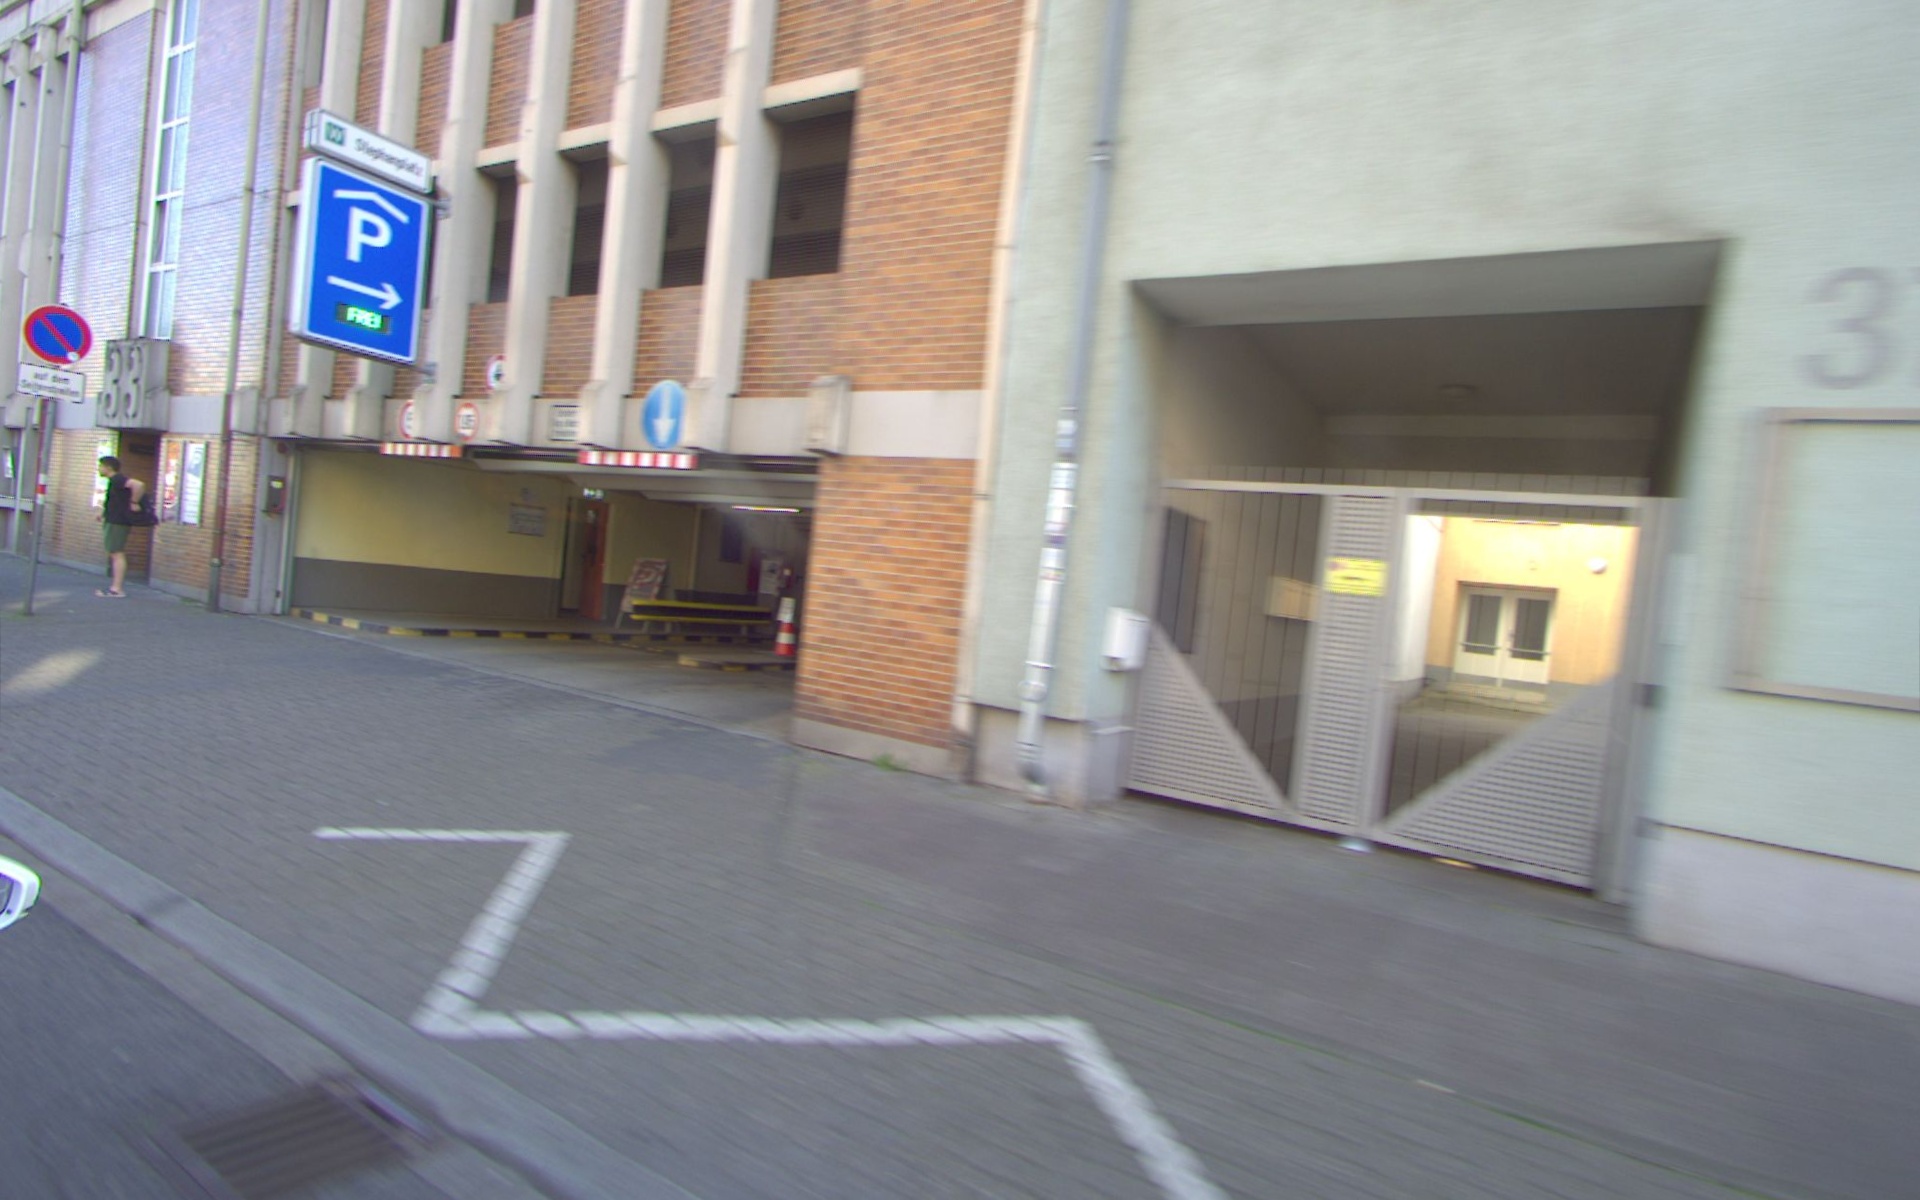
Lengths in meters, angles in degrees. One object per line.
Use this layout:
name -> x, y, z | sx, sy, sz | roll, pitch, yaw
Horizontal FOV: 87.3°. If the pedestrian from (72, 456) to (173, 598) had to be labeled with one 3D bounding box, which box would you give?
pedestrian -> -10.451, -0.901, 12.555 | 0.874, 1.658, 0.691 | 7, 4, 31
